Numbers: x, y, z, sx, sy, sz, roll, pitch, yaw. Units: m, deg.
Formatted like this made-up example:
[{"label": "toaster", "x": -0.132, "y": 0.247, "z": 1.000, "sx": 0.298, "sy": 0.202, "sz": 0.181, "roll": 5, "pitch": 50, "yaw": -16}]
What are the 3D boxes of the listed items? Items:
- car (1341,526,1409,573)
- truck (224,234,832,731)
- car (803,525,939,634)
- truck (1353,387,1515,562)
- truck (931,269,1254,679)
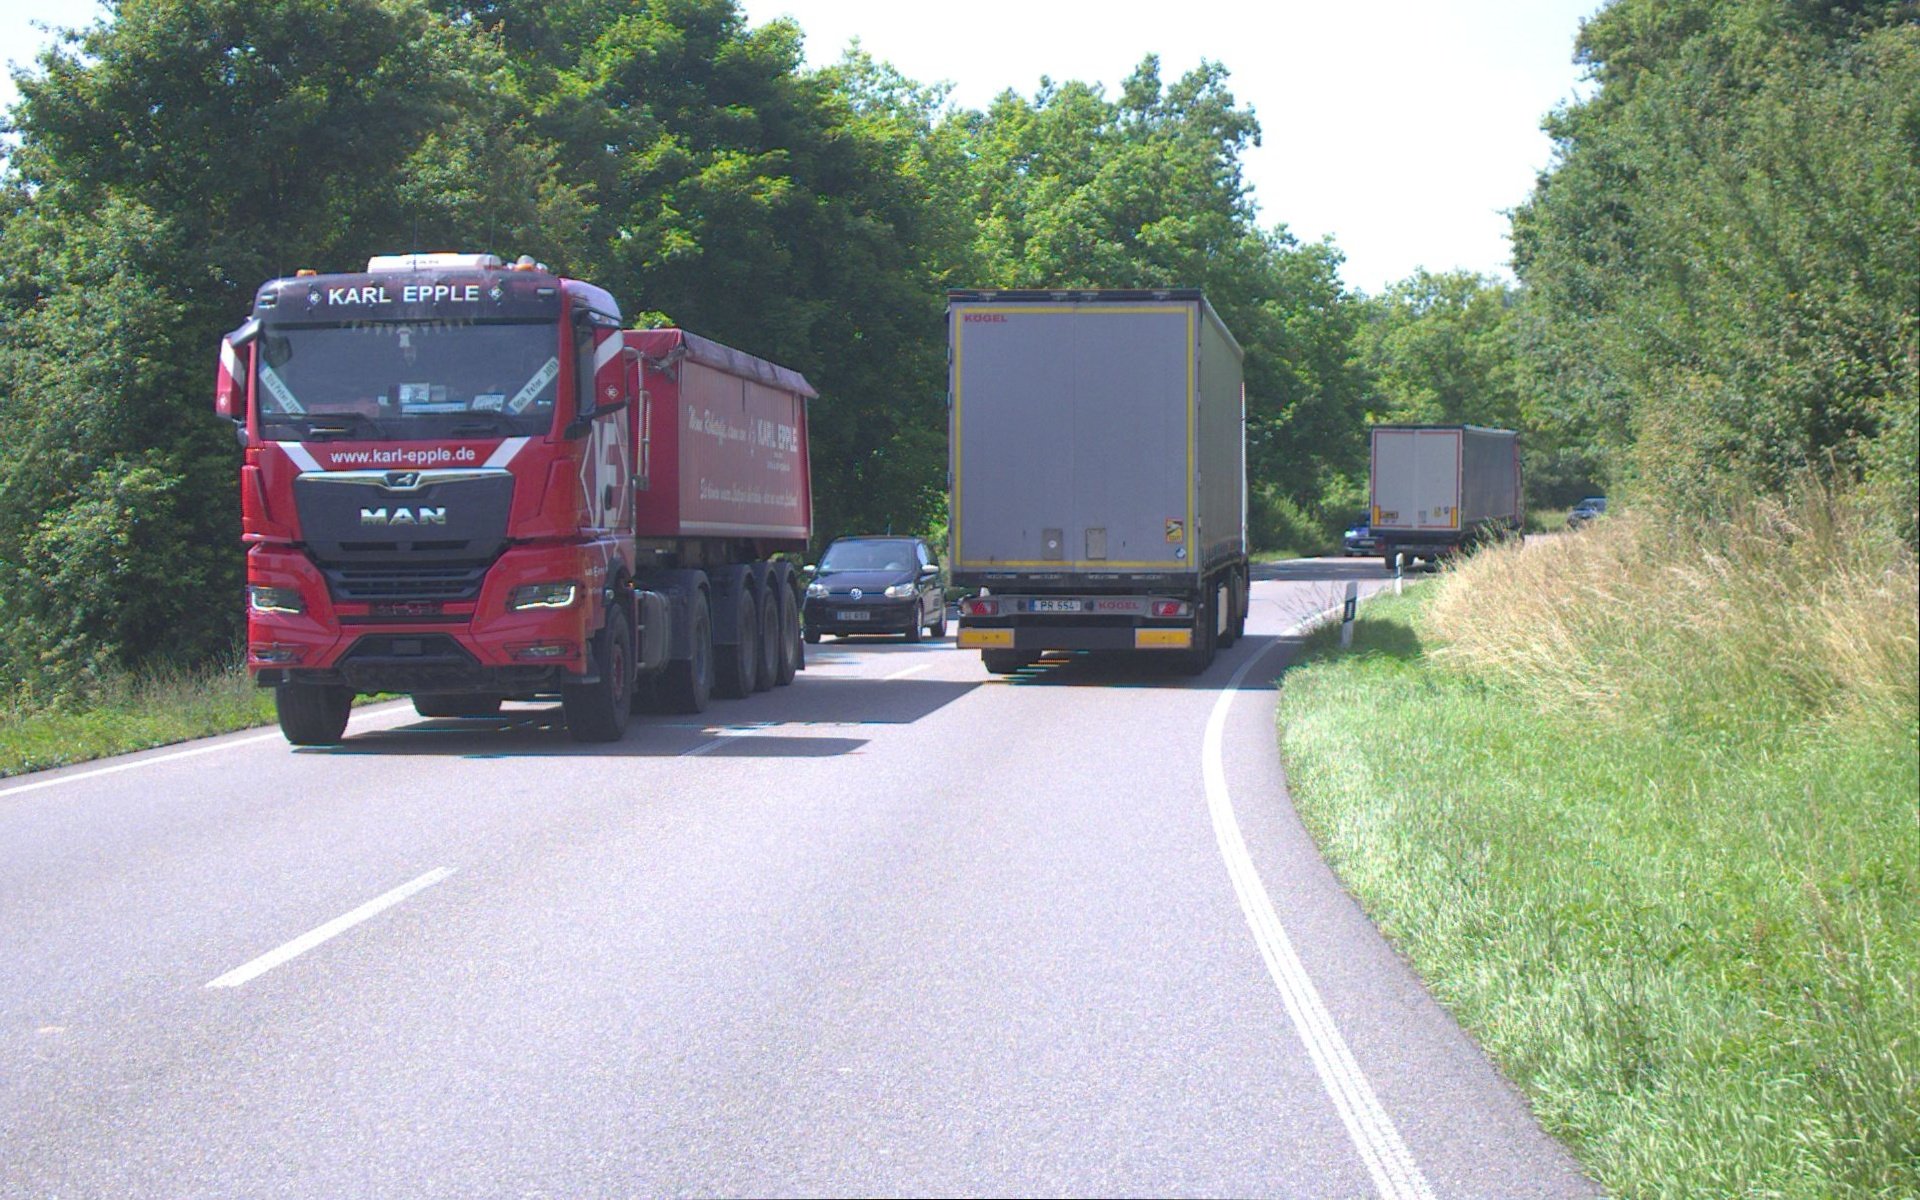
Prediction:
[{"label": "car", "x": 13.737, "y": -1.667, "z": 113.682, "sx": 1.671, "sy": 1.526, "sz": 3.955, "roll": 0, "pitch": 1, "yaw": 15}, {"label": "truck", "x": -3.257, "y": -0.930, "z": 30.272, "sx": 2.553, "sy": 3.440, "sz": 12.632, "roll": 0, "pitch": 1, "yaw": 6}, {"label": "car", "x": -1.207, "y": -0.311, "z": 47.990, "sx": 1.430, "sy": 1.466, "sz": 3.271, "roll": 0, "pitch": 1, "yaw": 7}, {"label": "truck", "x": 14.152, "y": -3.756, "z": 101.353, "sx": 3.107, "sy": 4.689, "sz": 16.581, "roll": -1, "pitch": 2, "yaw": 13}, {"label": "truck", "x": 1.961, "y": -1.467, "z": 41.837, "sx": 2.802, "sy": 4.054, "sz": 15.323, "roll": 1, "pitch": 2, "yaw": 6}]
